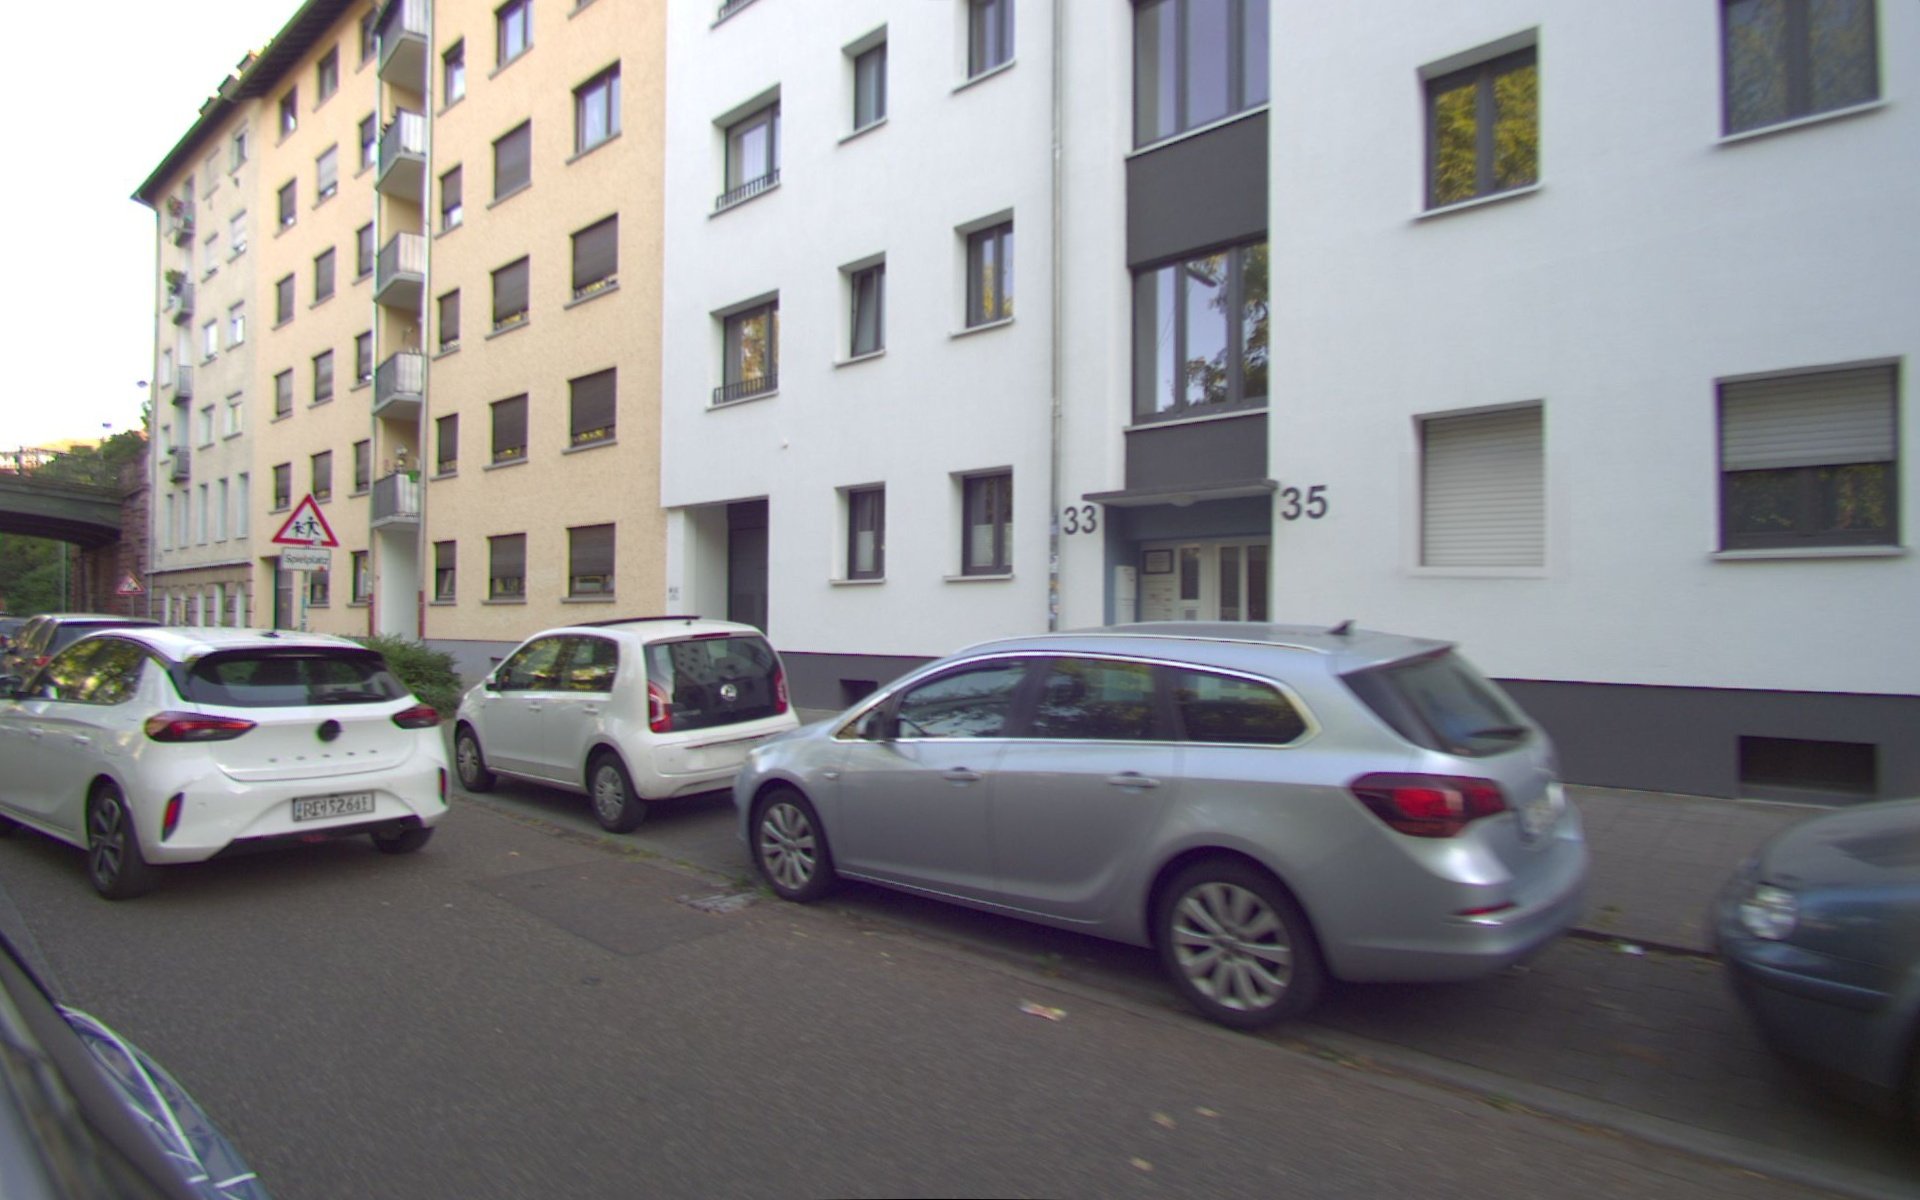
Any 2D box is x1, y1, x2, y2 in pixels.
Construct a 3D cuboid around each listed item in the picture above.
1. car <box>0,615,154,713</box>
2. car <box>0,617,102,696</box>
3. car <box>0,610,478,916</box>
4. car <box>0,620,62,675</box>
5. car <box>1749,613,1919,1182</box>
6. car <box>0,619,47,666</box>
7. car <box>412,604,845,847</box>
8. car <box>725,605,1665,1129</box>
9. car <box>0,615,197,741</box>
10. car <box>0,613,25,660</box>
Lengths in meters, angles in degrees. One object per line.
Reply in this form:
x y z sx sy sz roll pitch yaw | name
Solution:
-15.660 1.043 17.776 3.772 1.537 1.684 -1 -2 42 | car
-19.516 1.145 21.490 3.783 1.529 1.549 -1 -2 44 | car
-5.087 0.871 6.603 3.989 1.442 1.654 -2 -5 34 | car
-27.622 1.348 29.550 4.000 1.478 1.619 -1 -5 43 | car
4.252 0.761 2.075 4.001 1.463 1.597 -1 0 44 | car
-31.421 1.364 33.284 3.999 1.452 1.671 -1 -2 42 | car
-2.940 0.845 8.526 3.999 1.519 1.651 -1 1 42 | car
0.779 0.812 5.031 4.283 1.482 1.650 -1 1 43 | car
-12.085 0.986 14.033 4.000 1.490 1.720 -1 -3 43 | car
-36.991 1.353 38.366 4.319 1.721 1.699 0 -3 40 | car
